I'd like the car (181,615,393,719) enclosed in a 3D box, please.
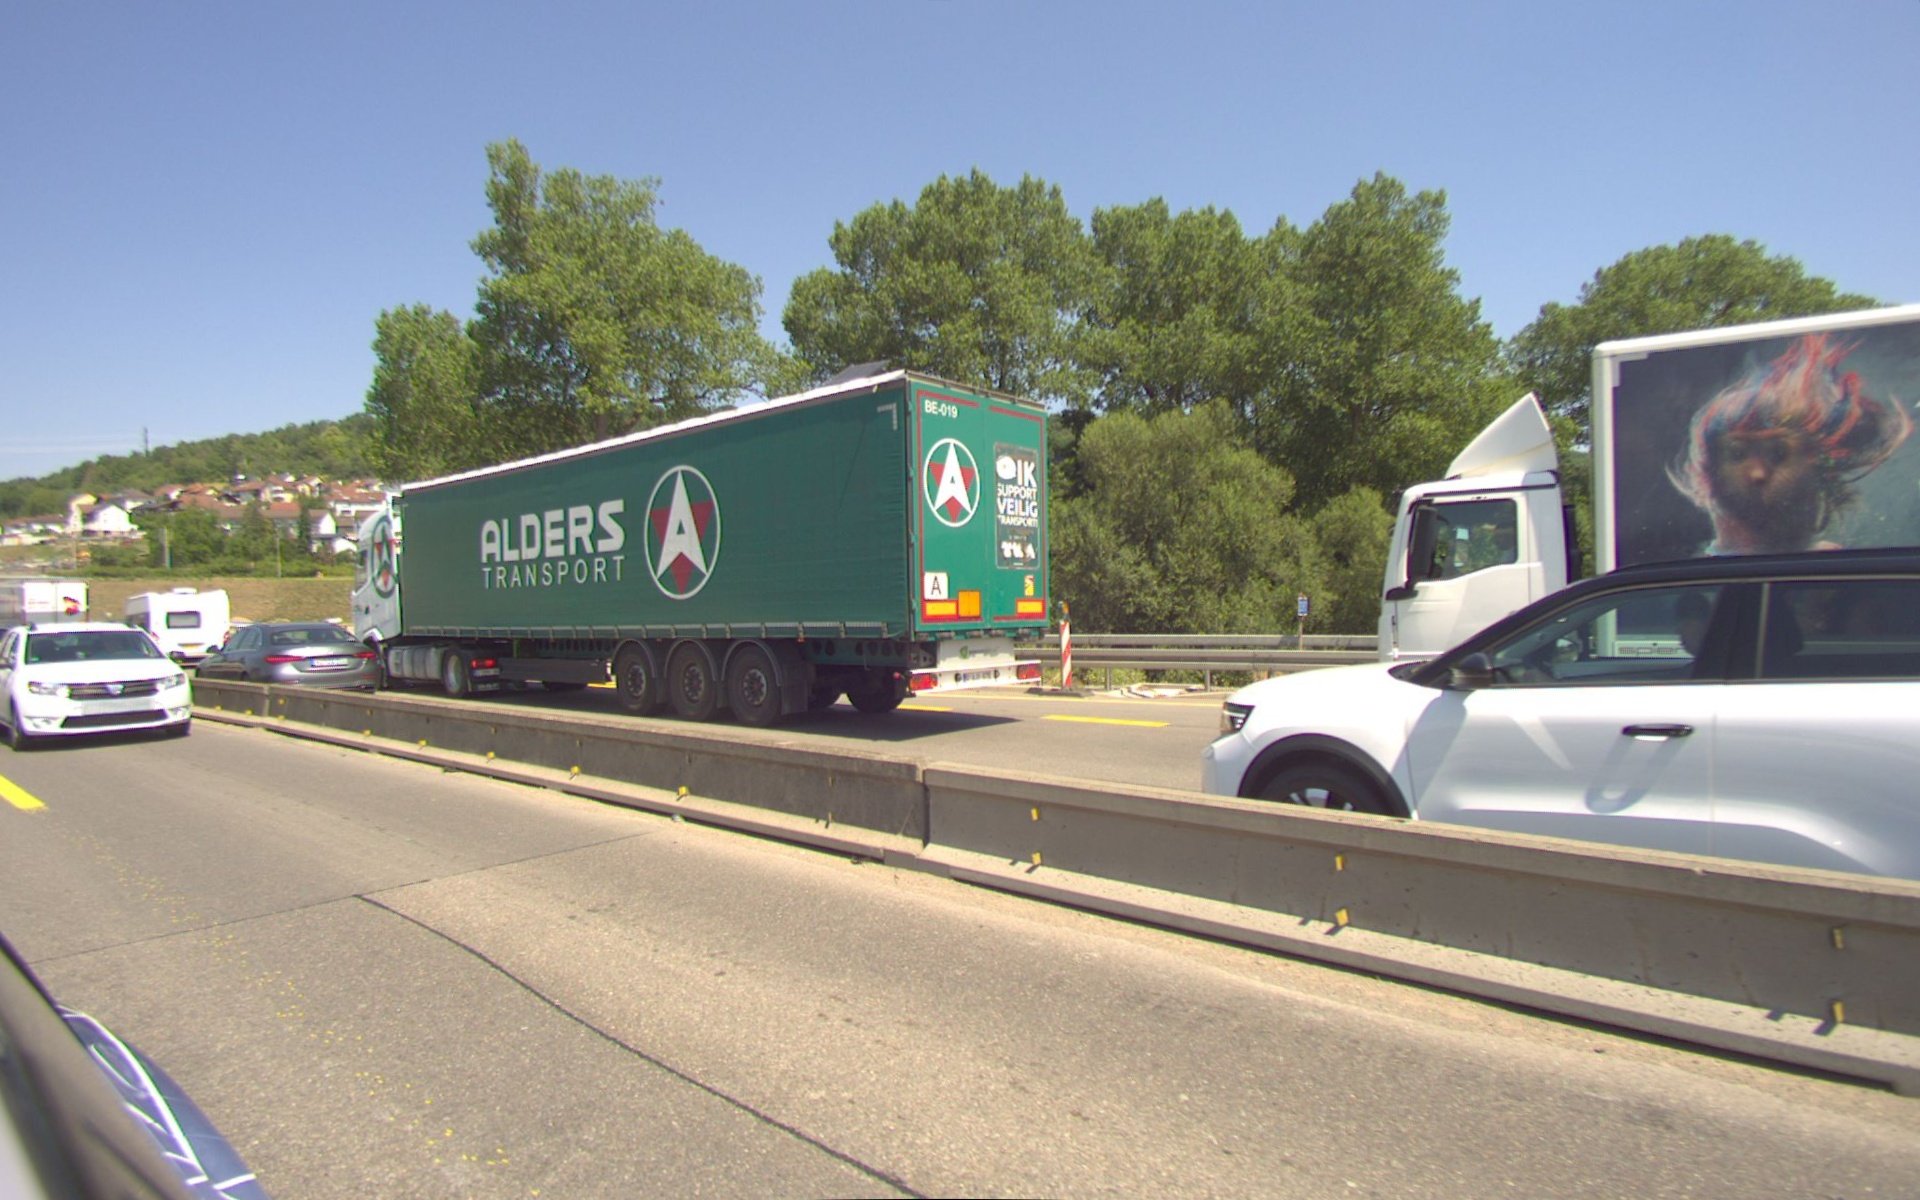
[{"bbox_3d":[-11.685,1.088,17.439,4.605,1.470,1.846,-2,1,41],"label":"car"}]

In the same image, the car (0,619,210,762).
[{"bbox_3d":[-11.738,1.078,13.464,4.703,1.542,1.800,-2,-1,40],"label":"car"}]

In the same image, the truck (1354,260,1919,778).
[{"bbox_3d":[8.042,-0.631,8.474,8.341,3.793,2.882,-2,0,33],"label":"truck"}]

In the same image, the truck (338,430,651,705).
[{"bbox_3d":[-9.523,-0.466,20.308,7.099,4.571,3.046,-2,-1,41],"label":"truck"}]

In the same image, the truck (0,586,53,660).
[{"bbox_3d":[-54.971,1.355,58.461,6.515,4.068,2.788,-3,-1,39],"label":"truck"}]

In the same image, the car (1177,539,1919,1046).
[{"bbox_3d":[3.245,0.612,4.334,4.152,1.659,1.739,-2,1,40],"label":"car"}]

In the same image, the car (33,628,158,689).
[{"bbox_3d":[-23.452,1.542,27.401,4.533,1.431,1.760,-2,1,39],"label":"car"}]

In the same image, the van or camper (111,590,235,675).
[{"bbox_3d":[-27.559,1.116,35.357,5.241,2.719,2.477,-2,-1,41],"label":"van or camper"}]

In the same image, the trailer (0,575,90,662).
[{"bbox_3d":[-49.342,1.083,53.779,11.787,4.208,2.778,-3,-1,40],"label":"trailer"}]

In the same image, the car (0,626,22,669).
[{"bbox_3d":[-41.046,2.021,42.503,4.614,1.700,1.829,-2,1,40],"label":"car"}]

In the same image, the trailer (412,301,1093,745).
[{"bbox_3d":[-4.287,-0.606,15.694,13.012,4.499,3.069,-2,-2,41],"label":"trailer"}]
